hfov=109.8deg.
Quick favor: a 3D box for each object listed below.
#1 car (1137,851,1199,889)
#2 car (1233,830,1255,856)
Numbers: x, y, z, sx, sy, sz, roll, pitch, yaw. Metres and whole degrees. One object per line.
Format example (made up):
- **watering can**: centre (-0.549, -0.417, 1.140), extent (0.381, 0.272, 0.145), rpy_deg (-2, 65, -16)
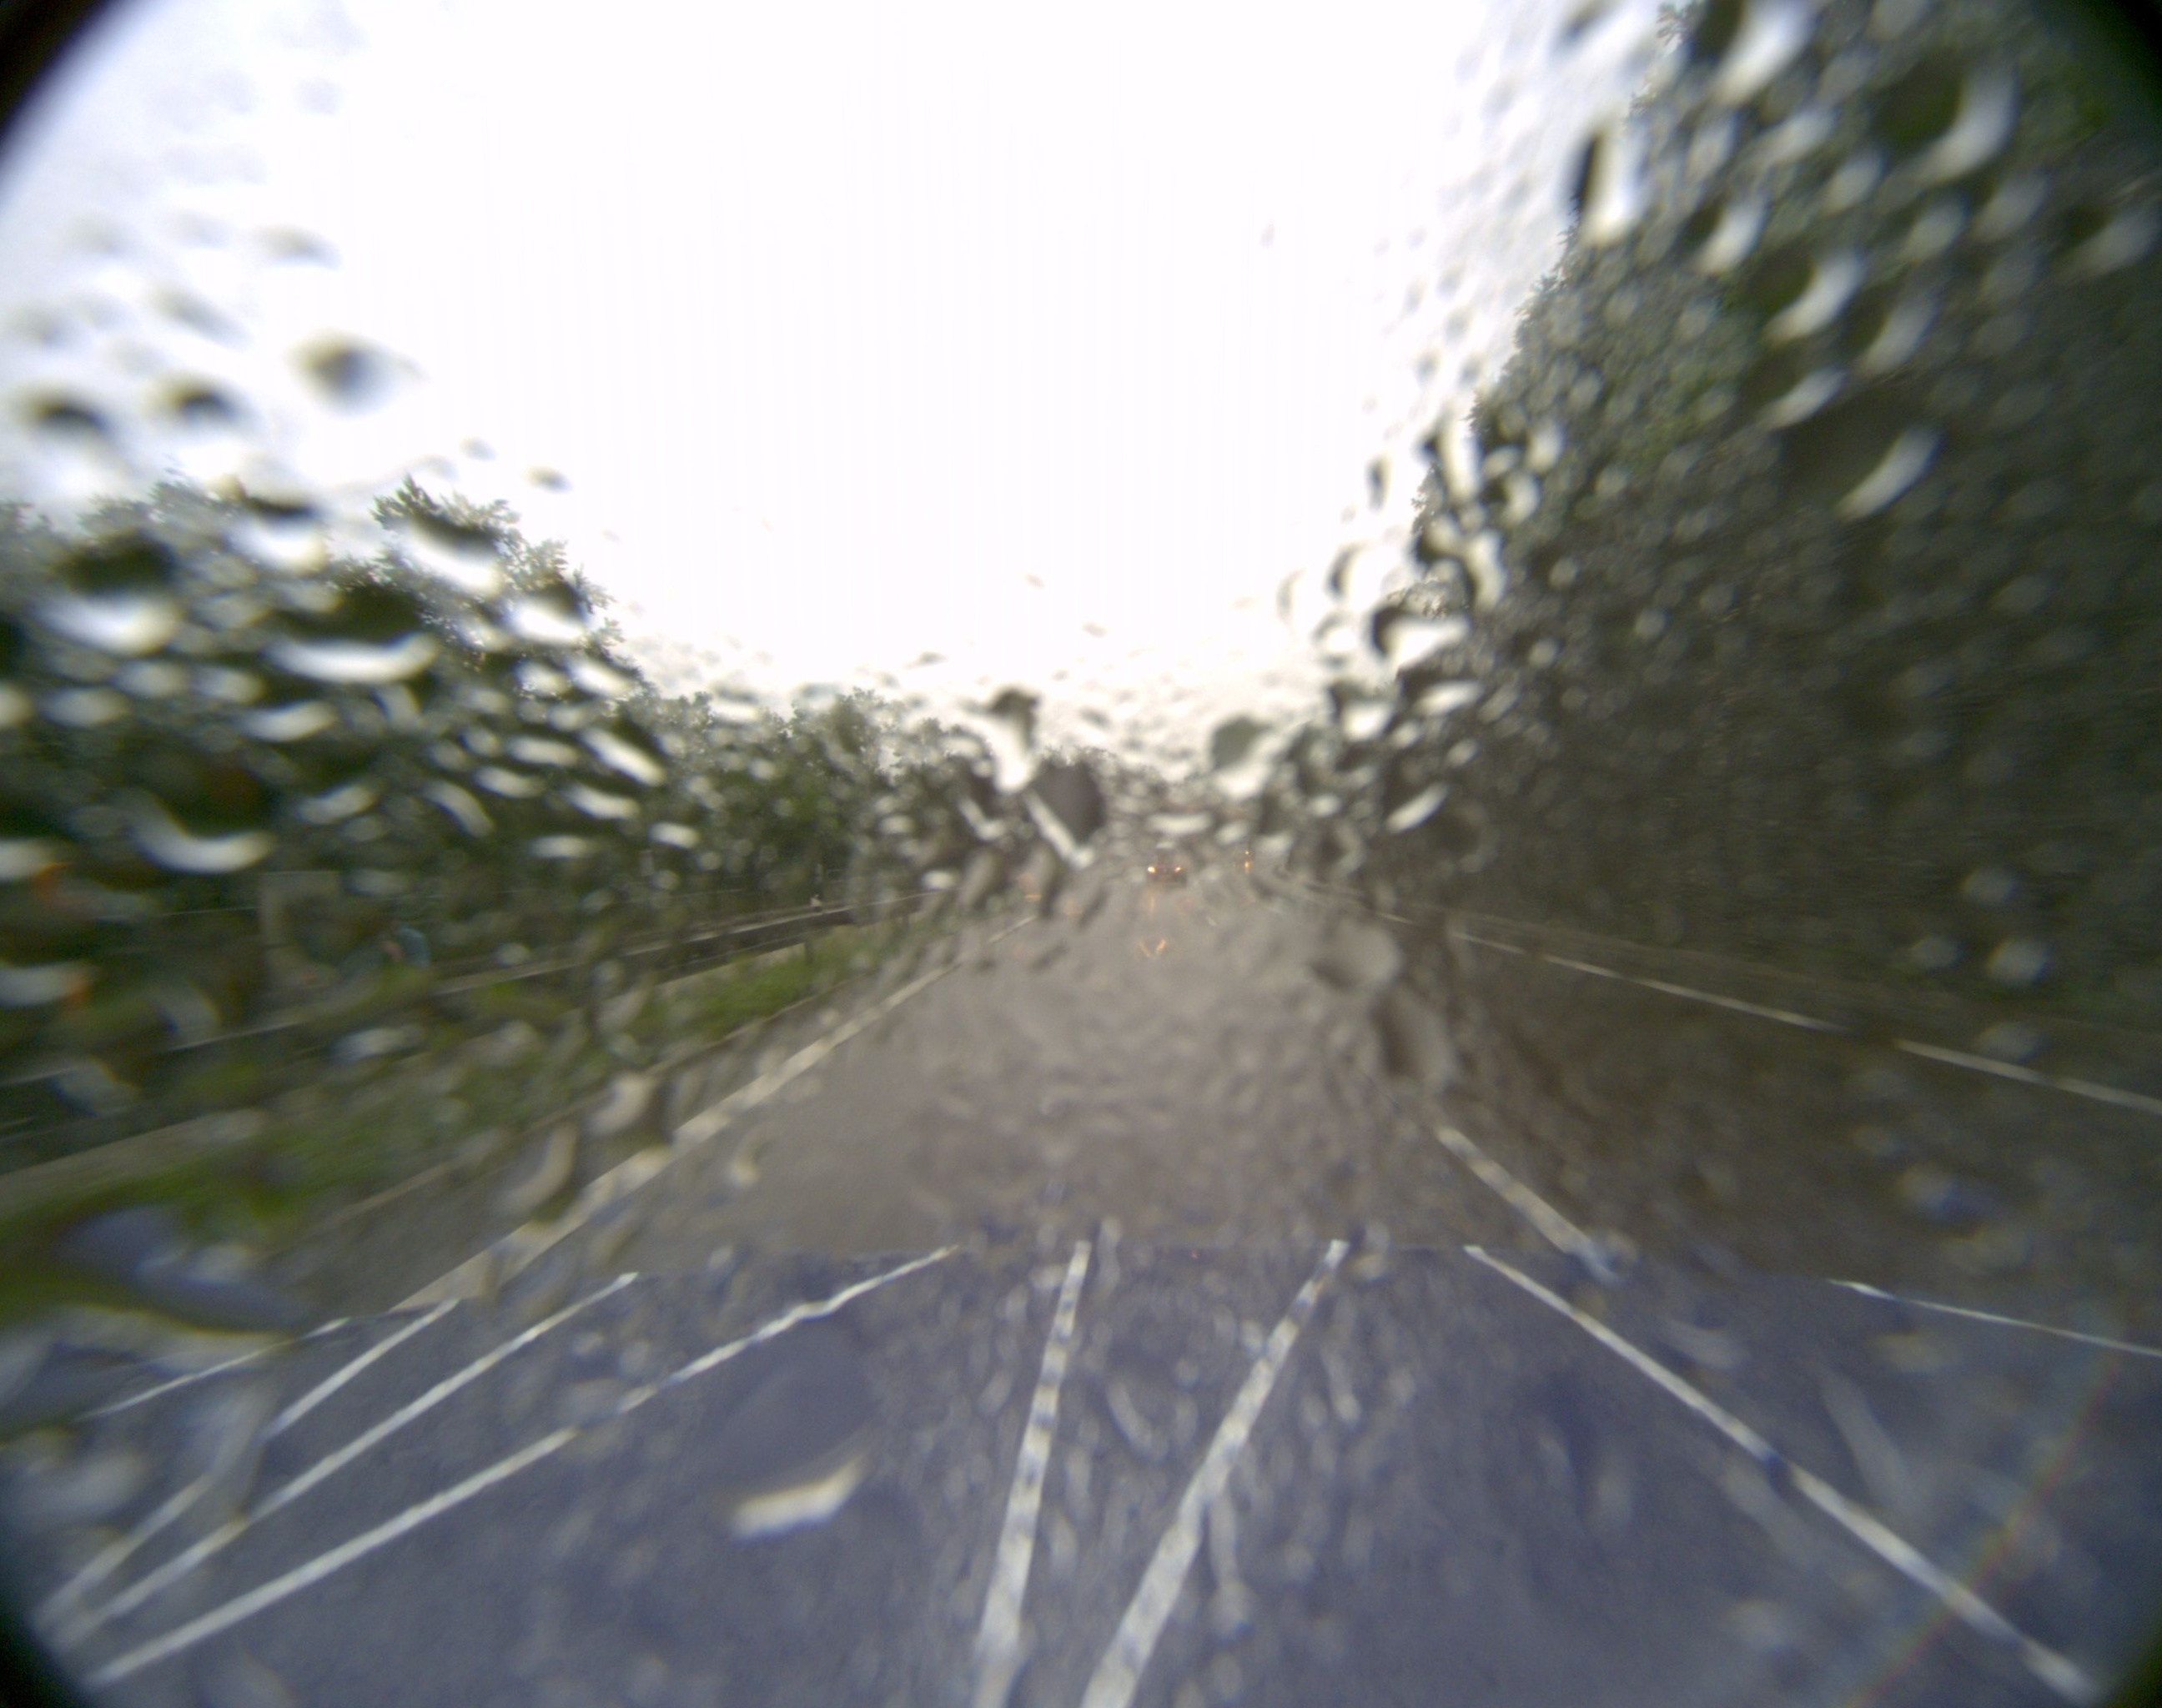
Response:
- **car**: centre (4.149, 0.682, 35.358), extent (2.357, 1.549, 5.503), rpy_deg (-1, 0, 11)
- **car**: centre (19.724, -1.304, 91.831), extent (1.739, 3.008, 4.006), rpy_deg (-1, 1, 24)
